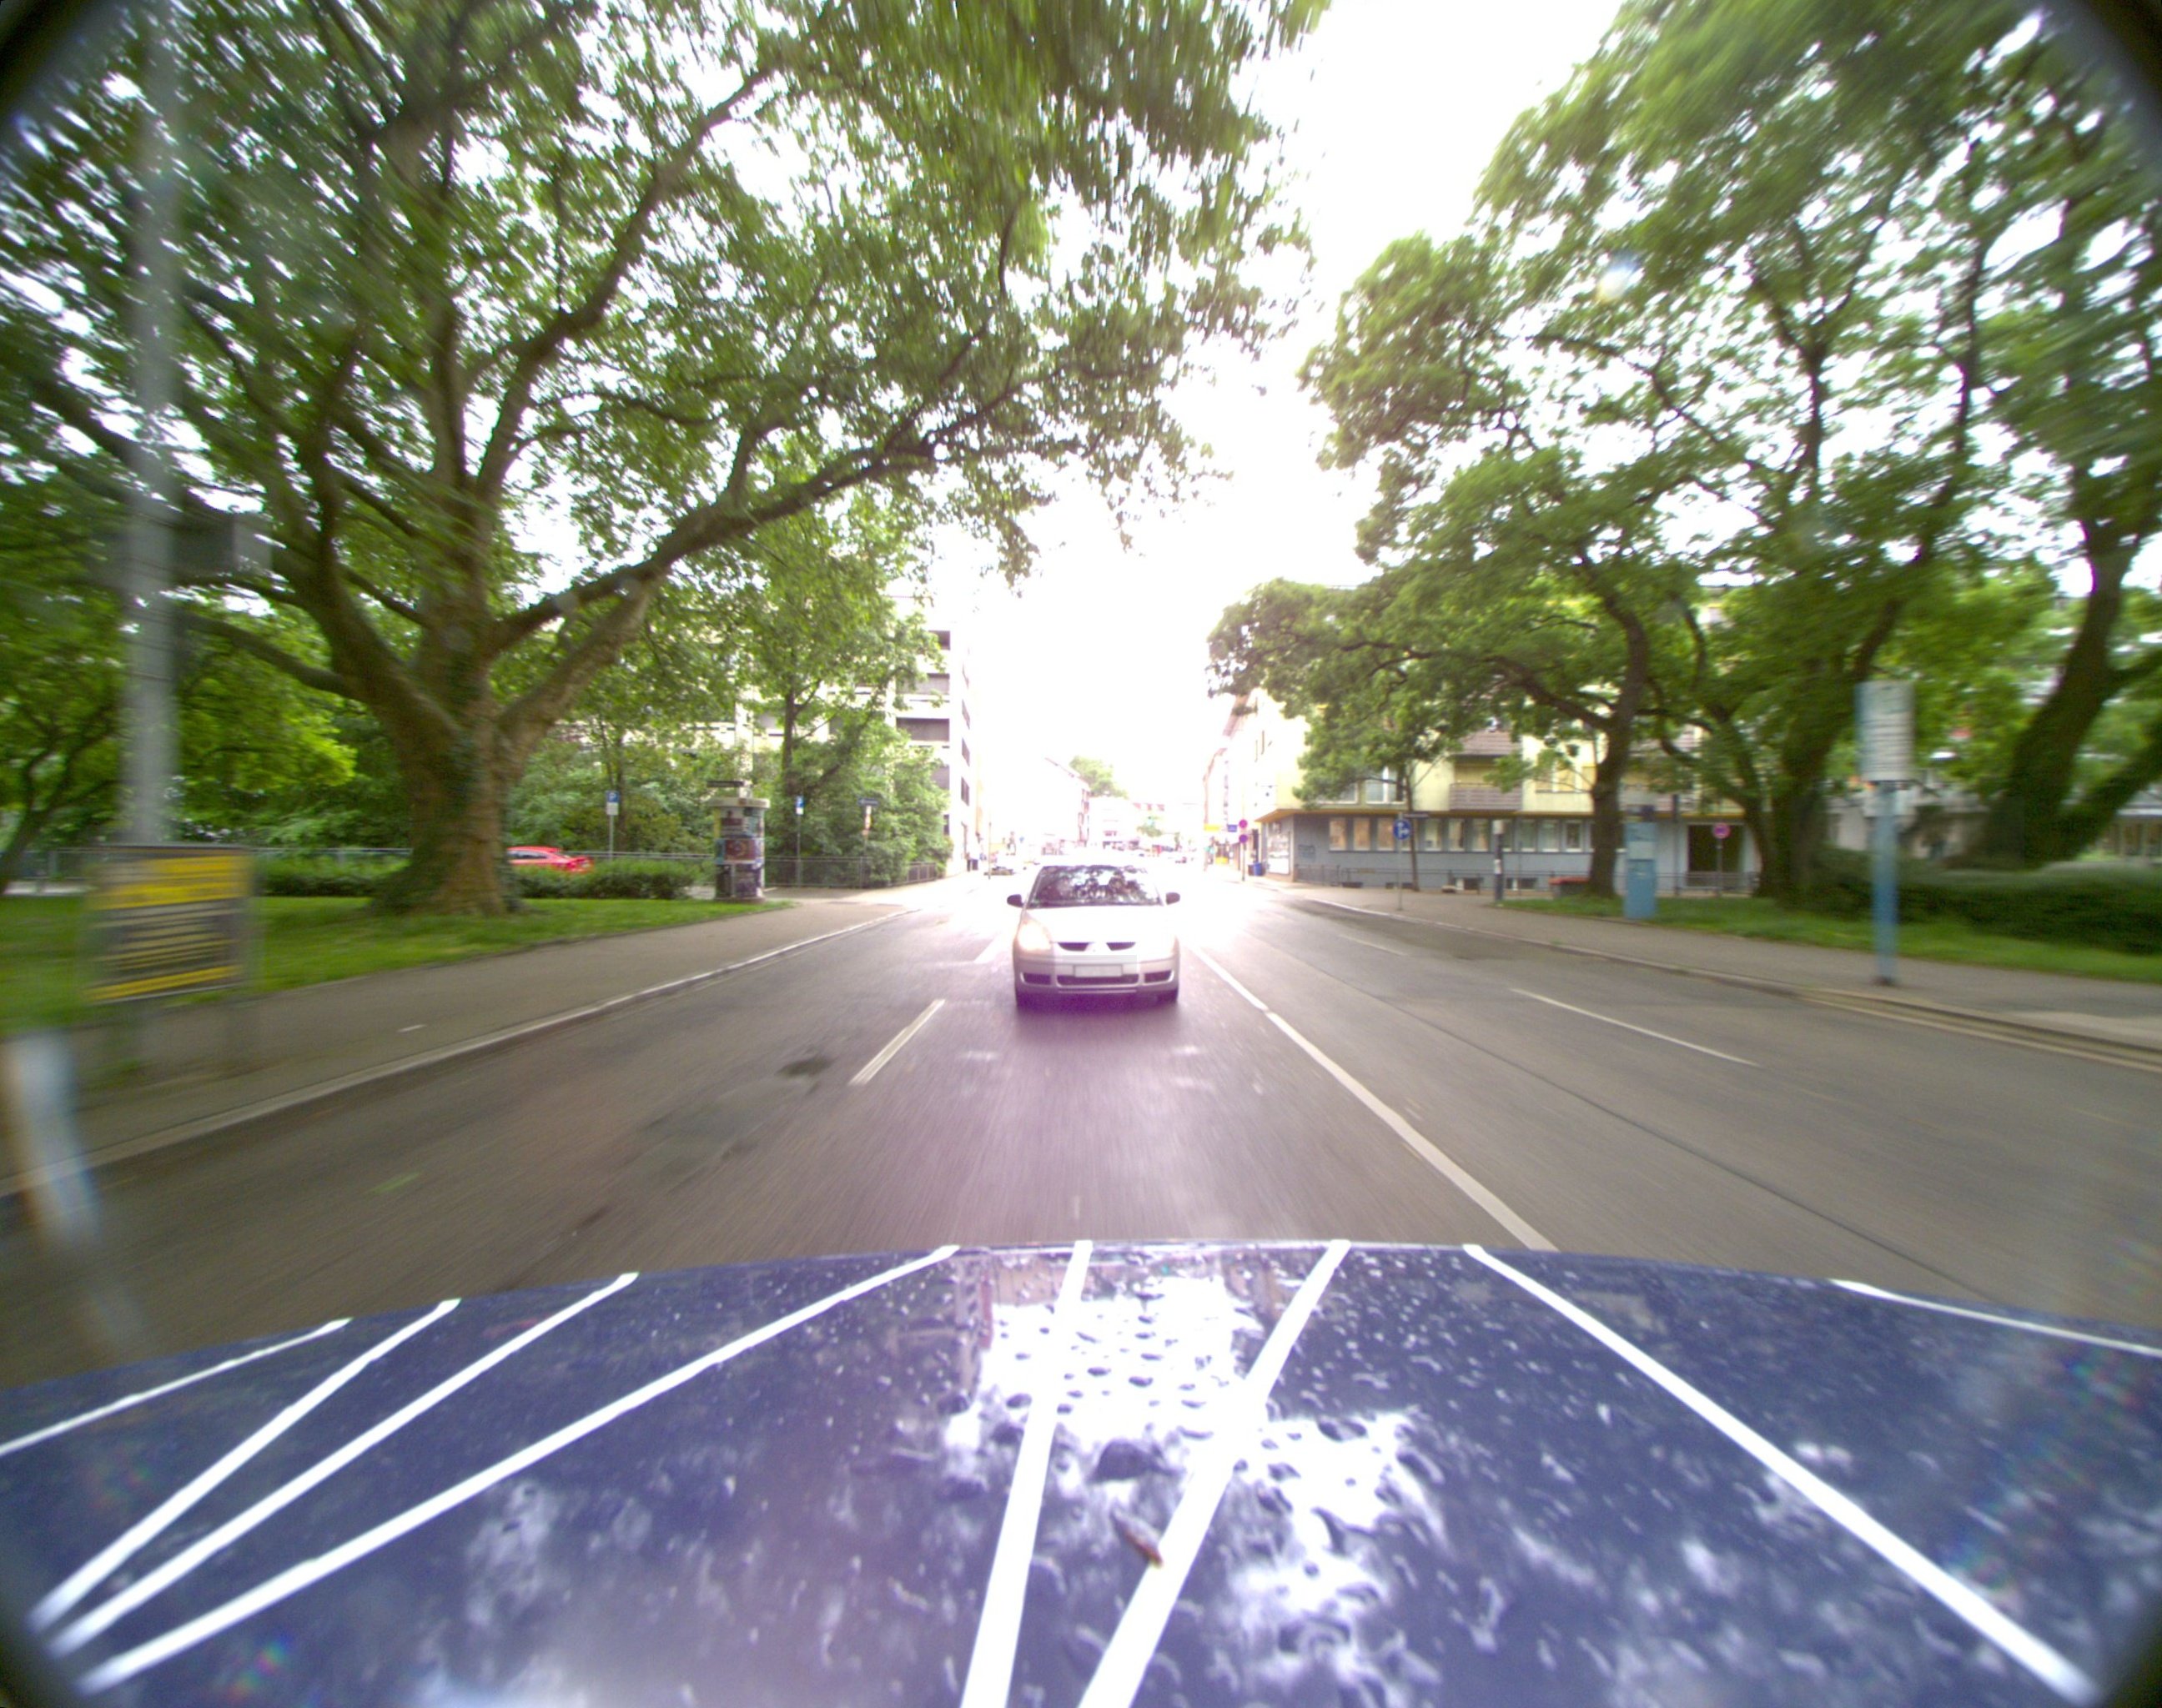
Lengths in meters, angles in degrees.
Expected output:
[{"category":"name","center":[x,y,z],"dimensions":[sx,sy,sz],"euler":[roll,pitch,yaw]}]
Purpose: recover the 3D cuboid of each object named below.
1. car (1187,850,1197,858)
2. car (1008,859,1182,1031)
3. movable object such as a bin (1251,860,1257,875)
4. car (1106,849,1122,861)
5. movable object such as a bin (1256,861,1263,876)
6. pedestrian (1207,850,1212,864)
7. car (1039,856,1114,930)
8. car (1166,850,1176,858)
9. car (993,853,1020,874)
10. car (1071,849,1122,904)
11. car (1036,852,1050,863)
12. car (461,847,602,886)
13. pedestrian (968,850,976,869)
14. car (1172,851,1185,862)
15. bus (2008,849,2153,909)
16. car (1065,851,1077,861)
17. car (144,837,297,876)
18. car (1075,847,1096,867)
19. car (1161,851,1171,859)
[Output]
[{"category":"car","center":[25.073,0.007,172.192],"dimensions":[1.867,1.648,4.001],"euler":[1,0,4]},{"category":"car","center":[0.142,0.853,8.635],"dimensions":[1.576,1.514,3.240],"euler":[-1,1,0]},{"category":"movable object such as a bin","center":[12.298,0.969,54.029],"dimensions":[0.338,1.023,0.353],"euler":[1,1,7]},{"category":"car","center":[4.074,0.149,94.343],"dimensions":[1.701,1.433,3.897],"euler":[1,0,0]},{"category":"movable object such as a bin","center":[12.686,1.010,53.967],"dimensions":[0.415,1.023,0.353],"euler":[1,1,7]},{"category":"pedestrian","center":[16.897,0.389,100.251],"dimensions":[0.594,1.833,0.565],"euler":[1,1,7]},{"category":"car","center":[-0.036,0.845,18.193],"dimensions":[1.590,1.540,3.771],"euler":[1,0,2]},{"category":"car","center":[20.487,-0.021,173.154],"dimensions":[1.998,1.841,4.001],"euler":[1,0,4]},{"category":"car","center":[-5.764,0.706,59.154],"dimensions":[1.681,1.424,3.681],"euler":[4,0,0]},{"category":"car","center":[0.463,0.699,25.523],"dimensions":[1.584,1.705,3.648],"euler":[1,0,-1]},{"category":"car","center":[-5.281,0.439,107.021],"dimensions":[1.802,1.433,3.896],"euler":[1,0,-1]},{"category":"car","center":[-19.482,0.423,27.057],"dimensions":[3.790,1.271,1.576],"euler":[1,1,-4]},{"category":"pedestrian","center":[-8.598,0.448,60.079],"dimensions":[0.480,1.521,0.481],"euler":[-2,1,0]},{"category":"car","center":[16.234,0.368,126.760],"dimensions":[1.889,1.707,4.001],"euler":[1,0,4]},{"category":"bus","center":[33.538,0.834,25.512],"dimensions":[3.731,1.913,1.711],"euler":[1,1,-17]},{"category":"car","center":[-1.464,0.240,112.492],"dimensions":[1.802,1.433,3.897],"euler":[1,0,0]},{"category":"car","center":[-29.824,0.082,26.413],"dimensions":[3.468,1.271,1.448],"euler":[1,1,-5]},{"category":"car","center":[0.384,0.232,74.555],"dimensions":[1.935,1.817,3.999],"euler":[-2,1,-1]},{"category":"car","center":[18.718,0.199,167.923],"dimensions":[1.998,1.631,4.001],"euler":[1,0,4]}]
